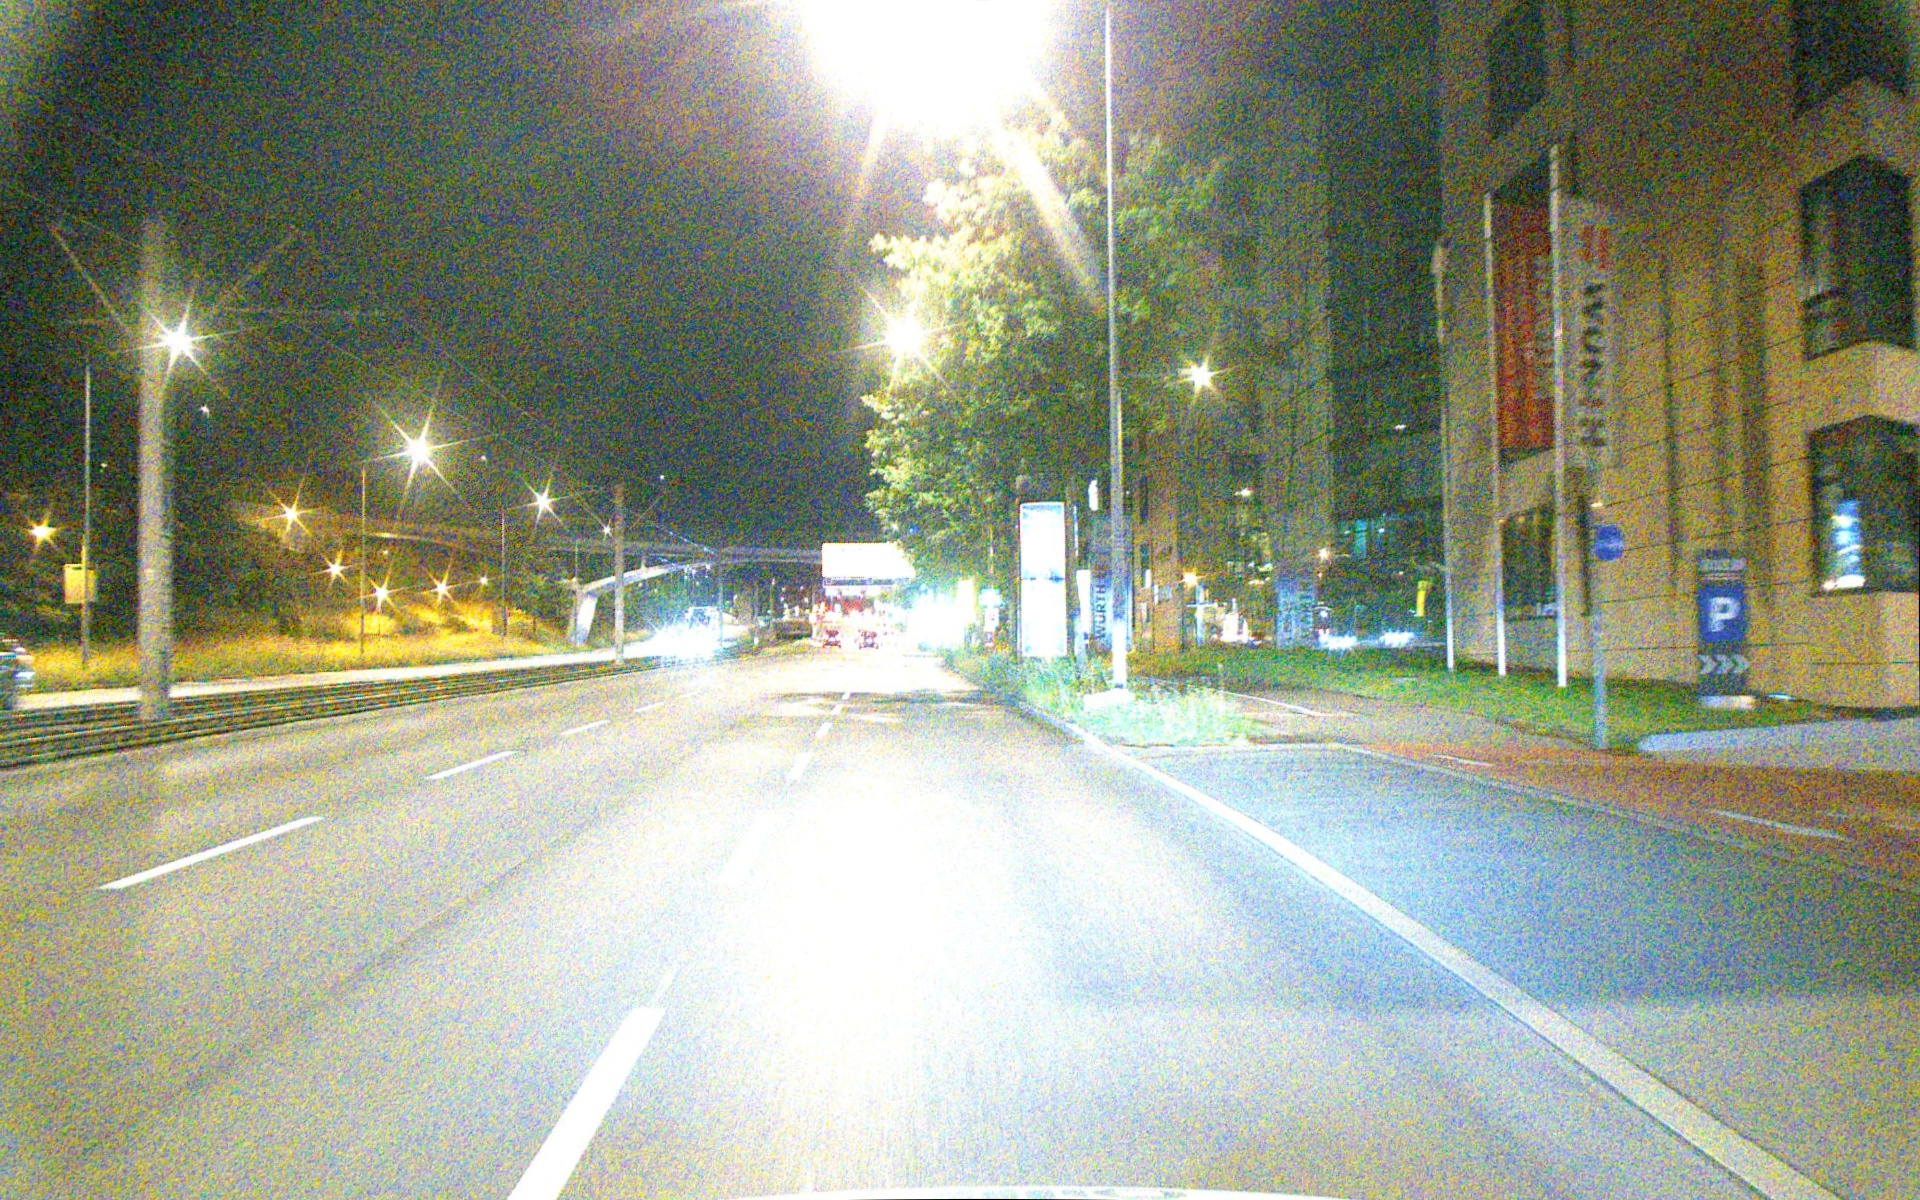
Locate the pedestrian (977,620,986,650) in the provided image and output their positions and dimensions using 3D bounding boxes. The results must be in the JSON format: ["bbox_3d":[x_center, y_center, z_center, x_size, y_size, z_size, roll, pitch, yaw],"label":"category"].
[{"bbox_3d":[1.746,2.864,136.912,0.729,2.478,0.779,1,-1,0],"label":"pedestrian"}]

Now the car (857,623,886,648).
[{"bbox_3d":[-7.953,3.190,149.736,2.307,2.166,4.826,0,0,0],"label":"car"}]

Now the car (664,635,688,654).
[{"bbox_3d":[-27.443,4.261,159.966,1.826,1.781,3.699,0,-1,-3],"label":"car"}]

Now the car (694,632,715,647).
[{"bbox_3d":[-28.171,4.356,182.585,1.873,1.499,3.769,0,0,-3],"label":"car"}]

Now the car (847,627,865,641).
[{"bbox_3d":[-11.951,3.920,189.533,1.953,1.580,3.998,0,-1,-3],"label":"car"}]

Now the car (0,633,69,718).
[{"bbox_3d":[-17.538,1.317,28.480,1.829,1.454,4.954,0,0,-2],"label":"car"}]

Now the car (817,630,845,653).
[{"bbox_3d":[-12.148,3.868,155.597,2.216,2.049,4.826,0,0,0],"label":"car"}]

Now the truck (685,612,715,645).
[{"bbox_3d":[-30.909,3.356,196.627,2.980,3.886,4.932,0,-1,-2],"label":"truck"}]

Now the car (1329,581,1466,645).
[{"bbox_3d":[13.384,0.400,50.613,3.718,1.895,1.983,0,-1,-26],"label":"car"}]

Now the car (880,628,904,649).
[{"bbox_3d":[-7.250,4.094,177.396,2.377,2.150,4.826,0,0,0],"label":"car"}]
